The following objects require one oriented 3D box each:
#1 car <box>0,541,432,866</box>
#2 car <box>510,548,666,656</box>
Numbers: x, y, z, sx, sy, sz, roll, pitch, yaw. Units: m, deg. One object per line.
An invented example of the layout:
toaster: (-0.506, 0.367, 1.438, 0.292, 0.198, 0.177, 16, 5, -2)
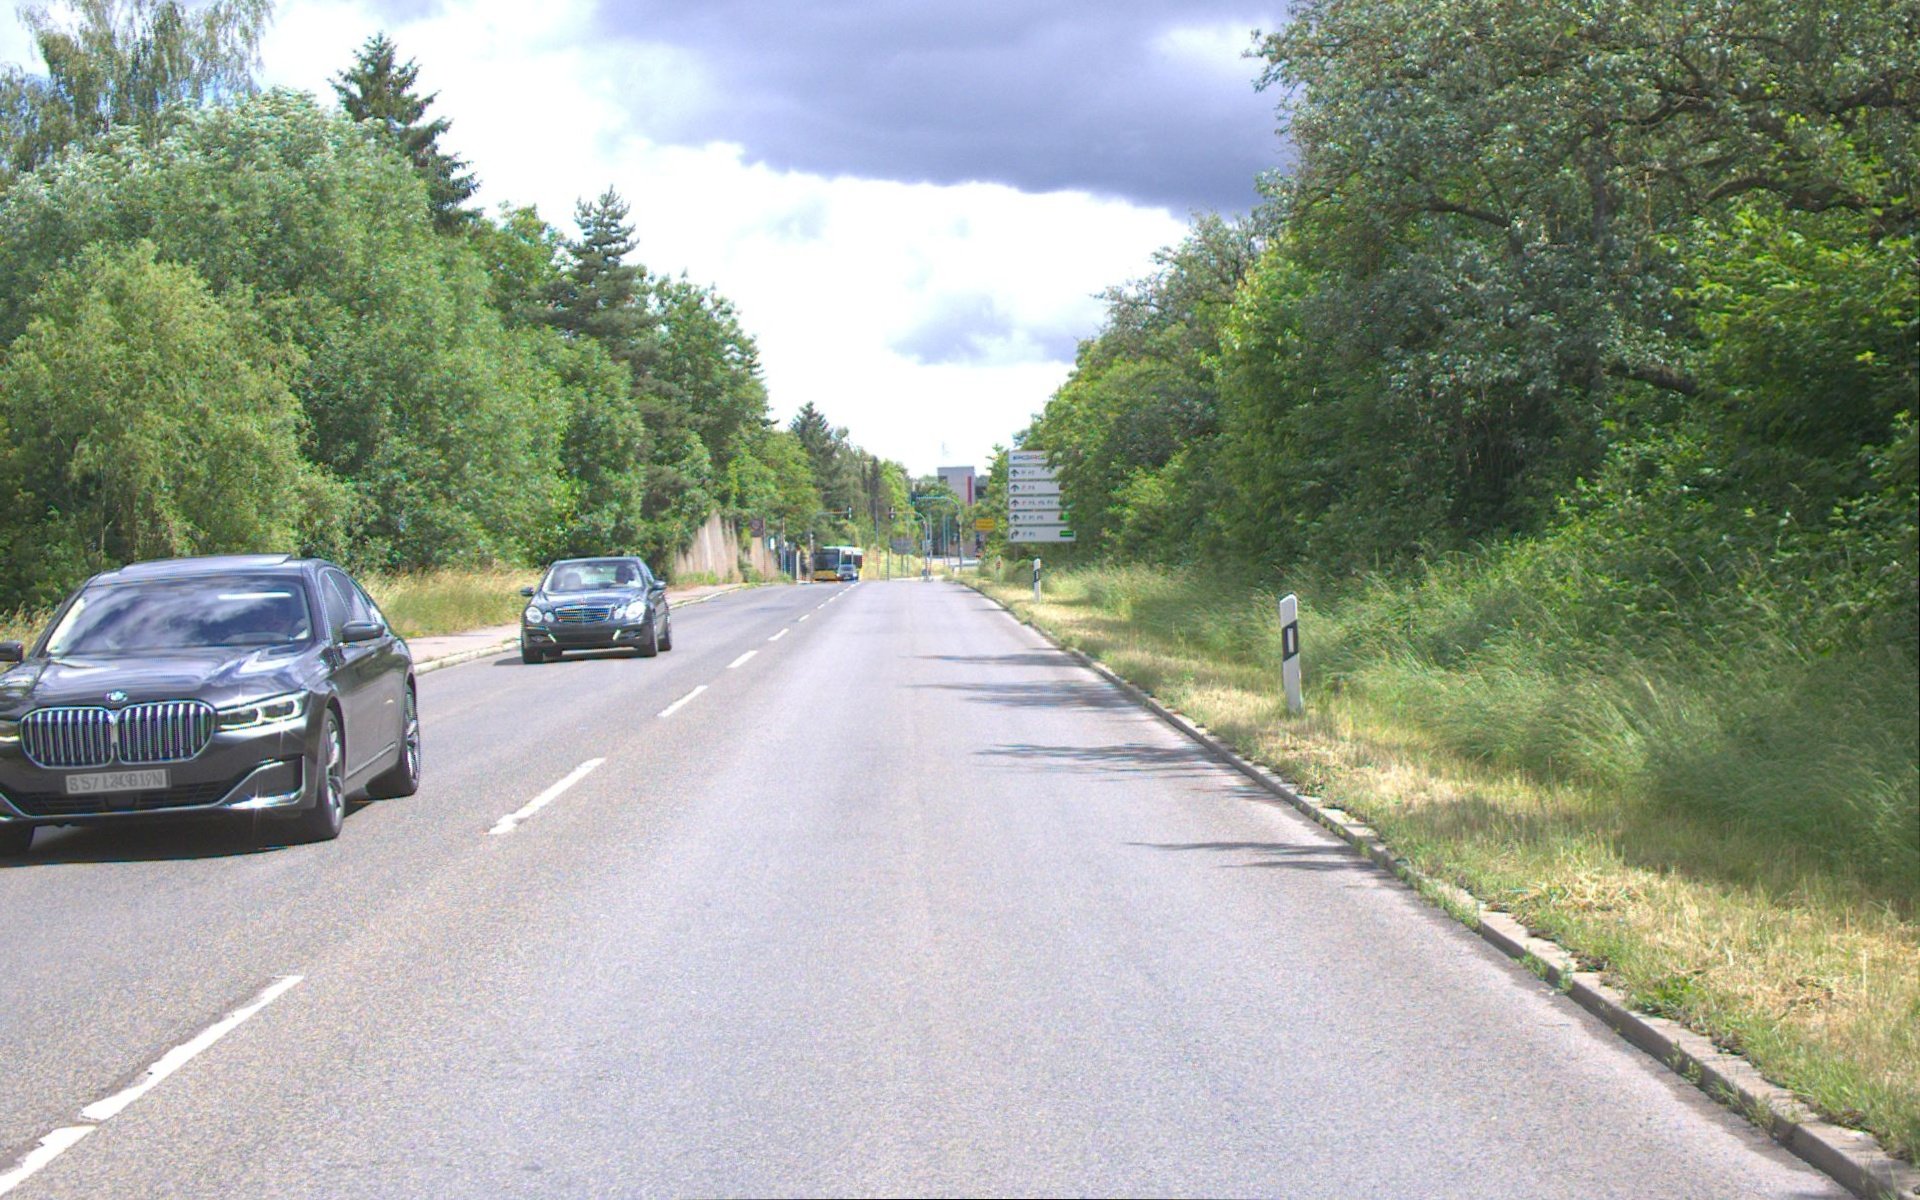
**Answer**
car: (-4.202, 0.476, 19.135, 1.884, 1.486, 4.718, -3, 1, -2)
car: (-5.200, -0.009, 48.537, 1.784, 1.329, 4.623, -3, 1, -2)
